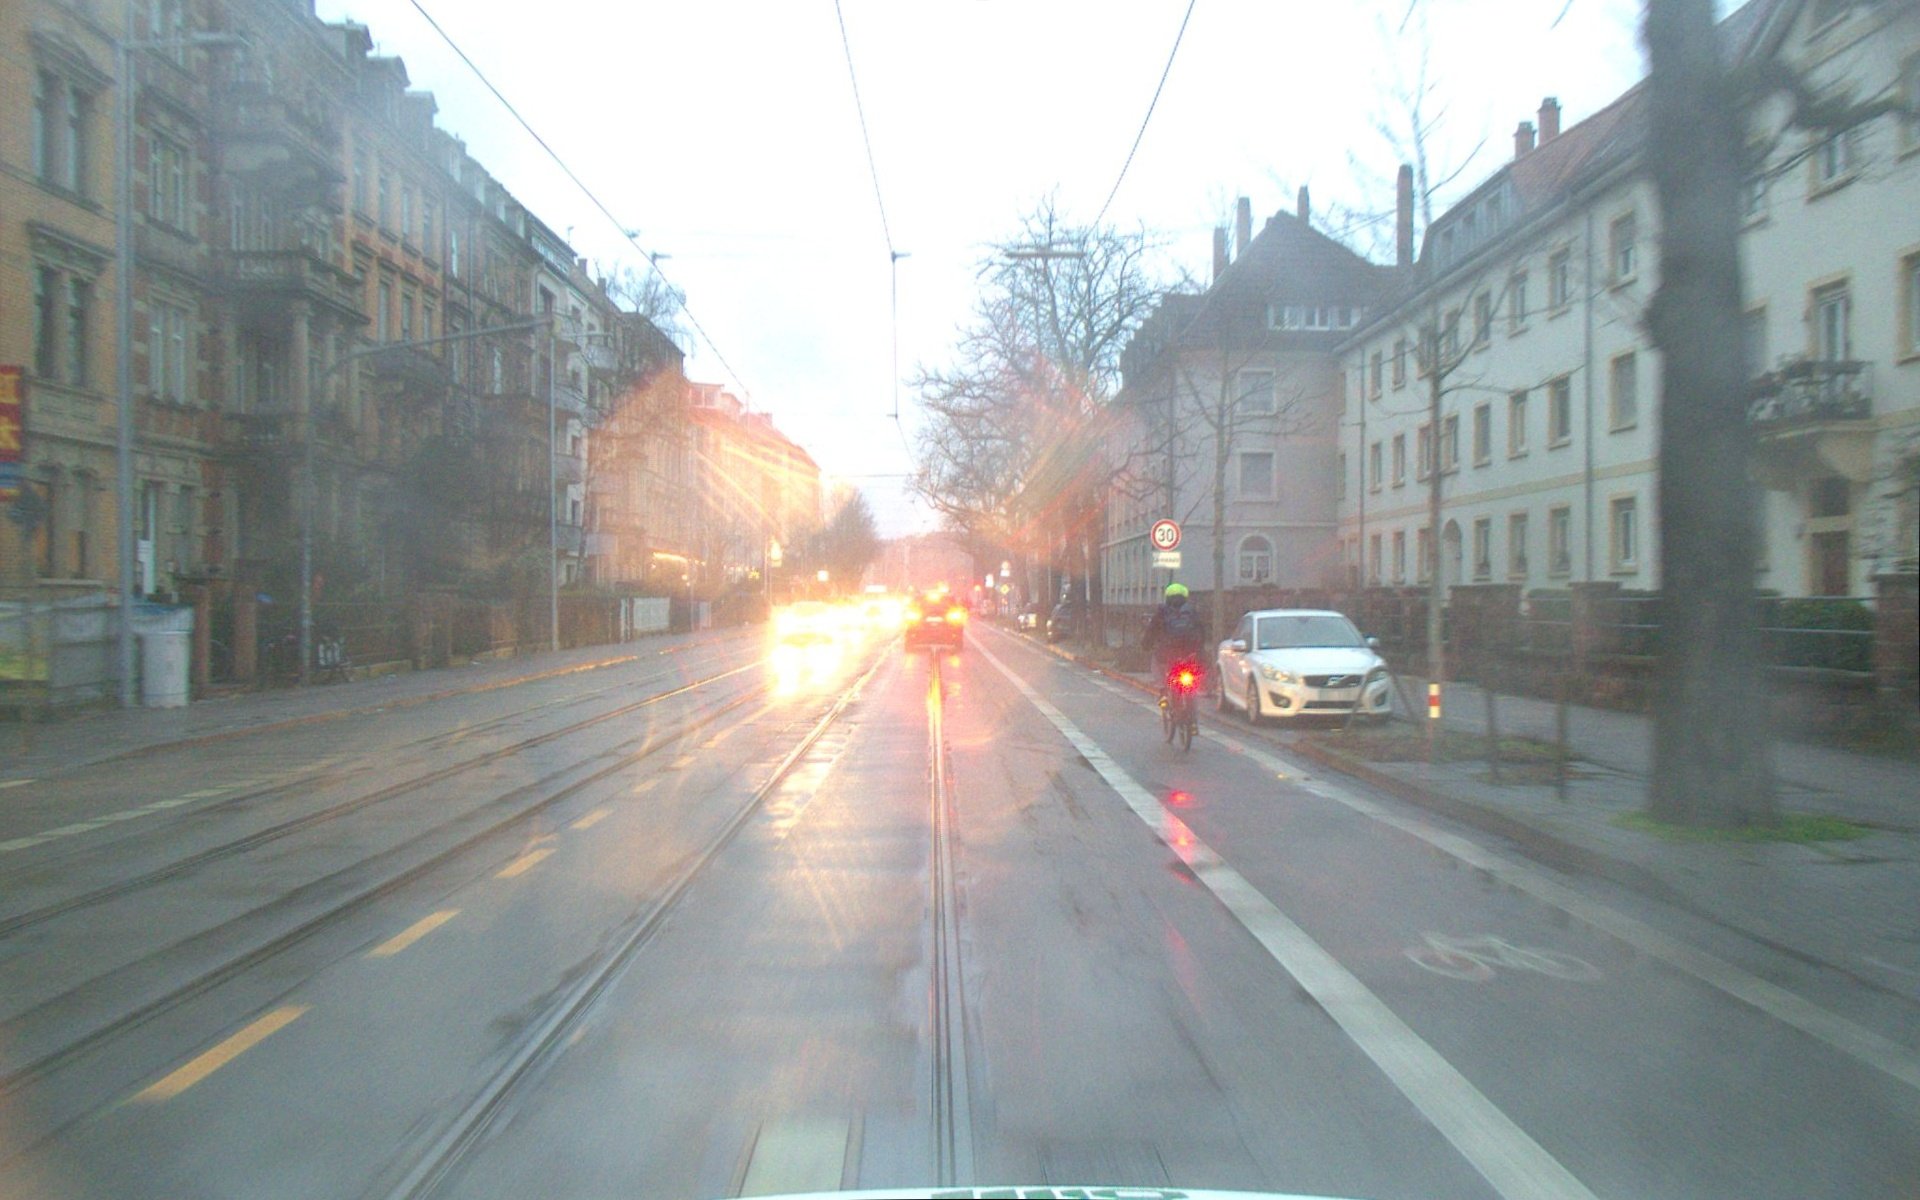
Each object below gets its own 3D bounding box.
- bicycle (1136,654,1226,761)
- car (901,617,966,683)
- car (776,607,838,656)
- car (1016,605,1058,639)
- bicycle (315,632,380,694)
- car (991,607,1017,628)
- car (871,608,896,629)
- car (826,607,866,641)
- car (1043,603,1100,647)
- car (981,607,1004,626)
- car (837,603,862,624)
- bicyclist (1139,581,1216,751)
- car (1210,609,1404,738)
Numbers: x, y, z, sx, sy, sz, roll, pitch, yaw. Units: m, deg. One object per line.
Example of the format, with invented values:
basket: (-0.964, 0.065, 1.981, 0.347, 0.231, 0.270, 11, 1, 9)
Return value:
bicycle: (2.313, 1.106, 17.493, 0.716, 1.024, 1.764, 0, 0, 0)
car: (-0.801, 1.544, 52.182, 1.764, 1.903, 4.019, 2, 0, 2)
car: (-5.453, 1.090, 59.262, 1.884, 1.691, 3.999, -1, 0, -1)
car: (3.601, 1.024, 77.911, 1.749, 1.536, 4.107, -1, 0, -1)
bicycle: (-10.802, 1.096, 29.215, 0.485, 1.024, 1.764, 0, 0, 0)
car: (3.276, 1.282, 123.553, 1.749, 1.536, 4.107, -1, 0, -1)
car: (-6.140, 1.466, 133.350, 1.884, 1.691, 3.999, -1, 0, -1)
car: (-5.891, 1.208, 85.857, 1.884, 1.691, 3.999, -1, 0, -1)
car: (3.999, 0.875, 59.893, 1.749, 1.536, 4.107, -1, 0, -1)
car: (2.681, 1.343, 136.813, 1.749, 1.536, 4.107, -1, 0, -1)
car: (-9.318, 1.148, 140.003, 1.884, 1.750, 3.999, -1, 0, -1)
bicyclist: (2.302, 0.688, 17.552, 0.715, 1.767, 0.765, 0, 0, 0)
car: (4.508, 0.895, 22.069, 1.749, 1.536, 4.108, -1, 0, 0)
